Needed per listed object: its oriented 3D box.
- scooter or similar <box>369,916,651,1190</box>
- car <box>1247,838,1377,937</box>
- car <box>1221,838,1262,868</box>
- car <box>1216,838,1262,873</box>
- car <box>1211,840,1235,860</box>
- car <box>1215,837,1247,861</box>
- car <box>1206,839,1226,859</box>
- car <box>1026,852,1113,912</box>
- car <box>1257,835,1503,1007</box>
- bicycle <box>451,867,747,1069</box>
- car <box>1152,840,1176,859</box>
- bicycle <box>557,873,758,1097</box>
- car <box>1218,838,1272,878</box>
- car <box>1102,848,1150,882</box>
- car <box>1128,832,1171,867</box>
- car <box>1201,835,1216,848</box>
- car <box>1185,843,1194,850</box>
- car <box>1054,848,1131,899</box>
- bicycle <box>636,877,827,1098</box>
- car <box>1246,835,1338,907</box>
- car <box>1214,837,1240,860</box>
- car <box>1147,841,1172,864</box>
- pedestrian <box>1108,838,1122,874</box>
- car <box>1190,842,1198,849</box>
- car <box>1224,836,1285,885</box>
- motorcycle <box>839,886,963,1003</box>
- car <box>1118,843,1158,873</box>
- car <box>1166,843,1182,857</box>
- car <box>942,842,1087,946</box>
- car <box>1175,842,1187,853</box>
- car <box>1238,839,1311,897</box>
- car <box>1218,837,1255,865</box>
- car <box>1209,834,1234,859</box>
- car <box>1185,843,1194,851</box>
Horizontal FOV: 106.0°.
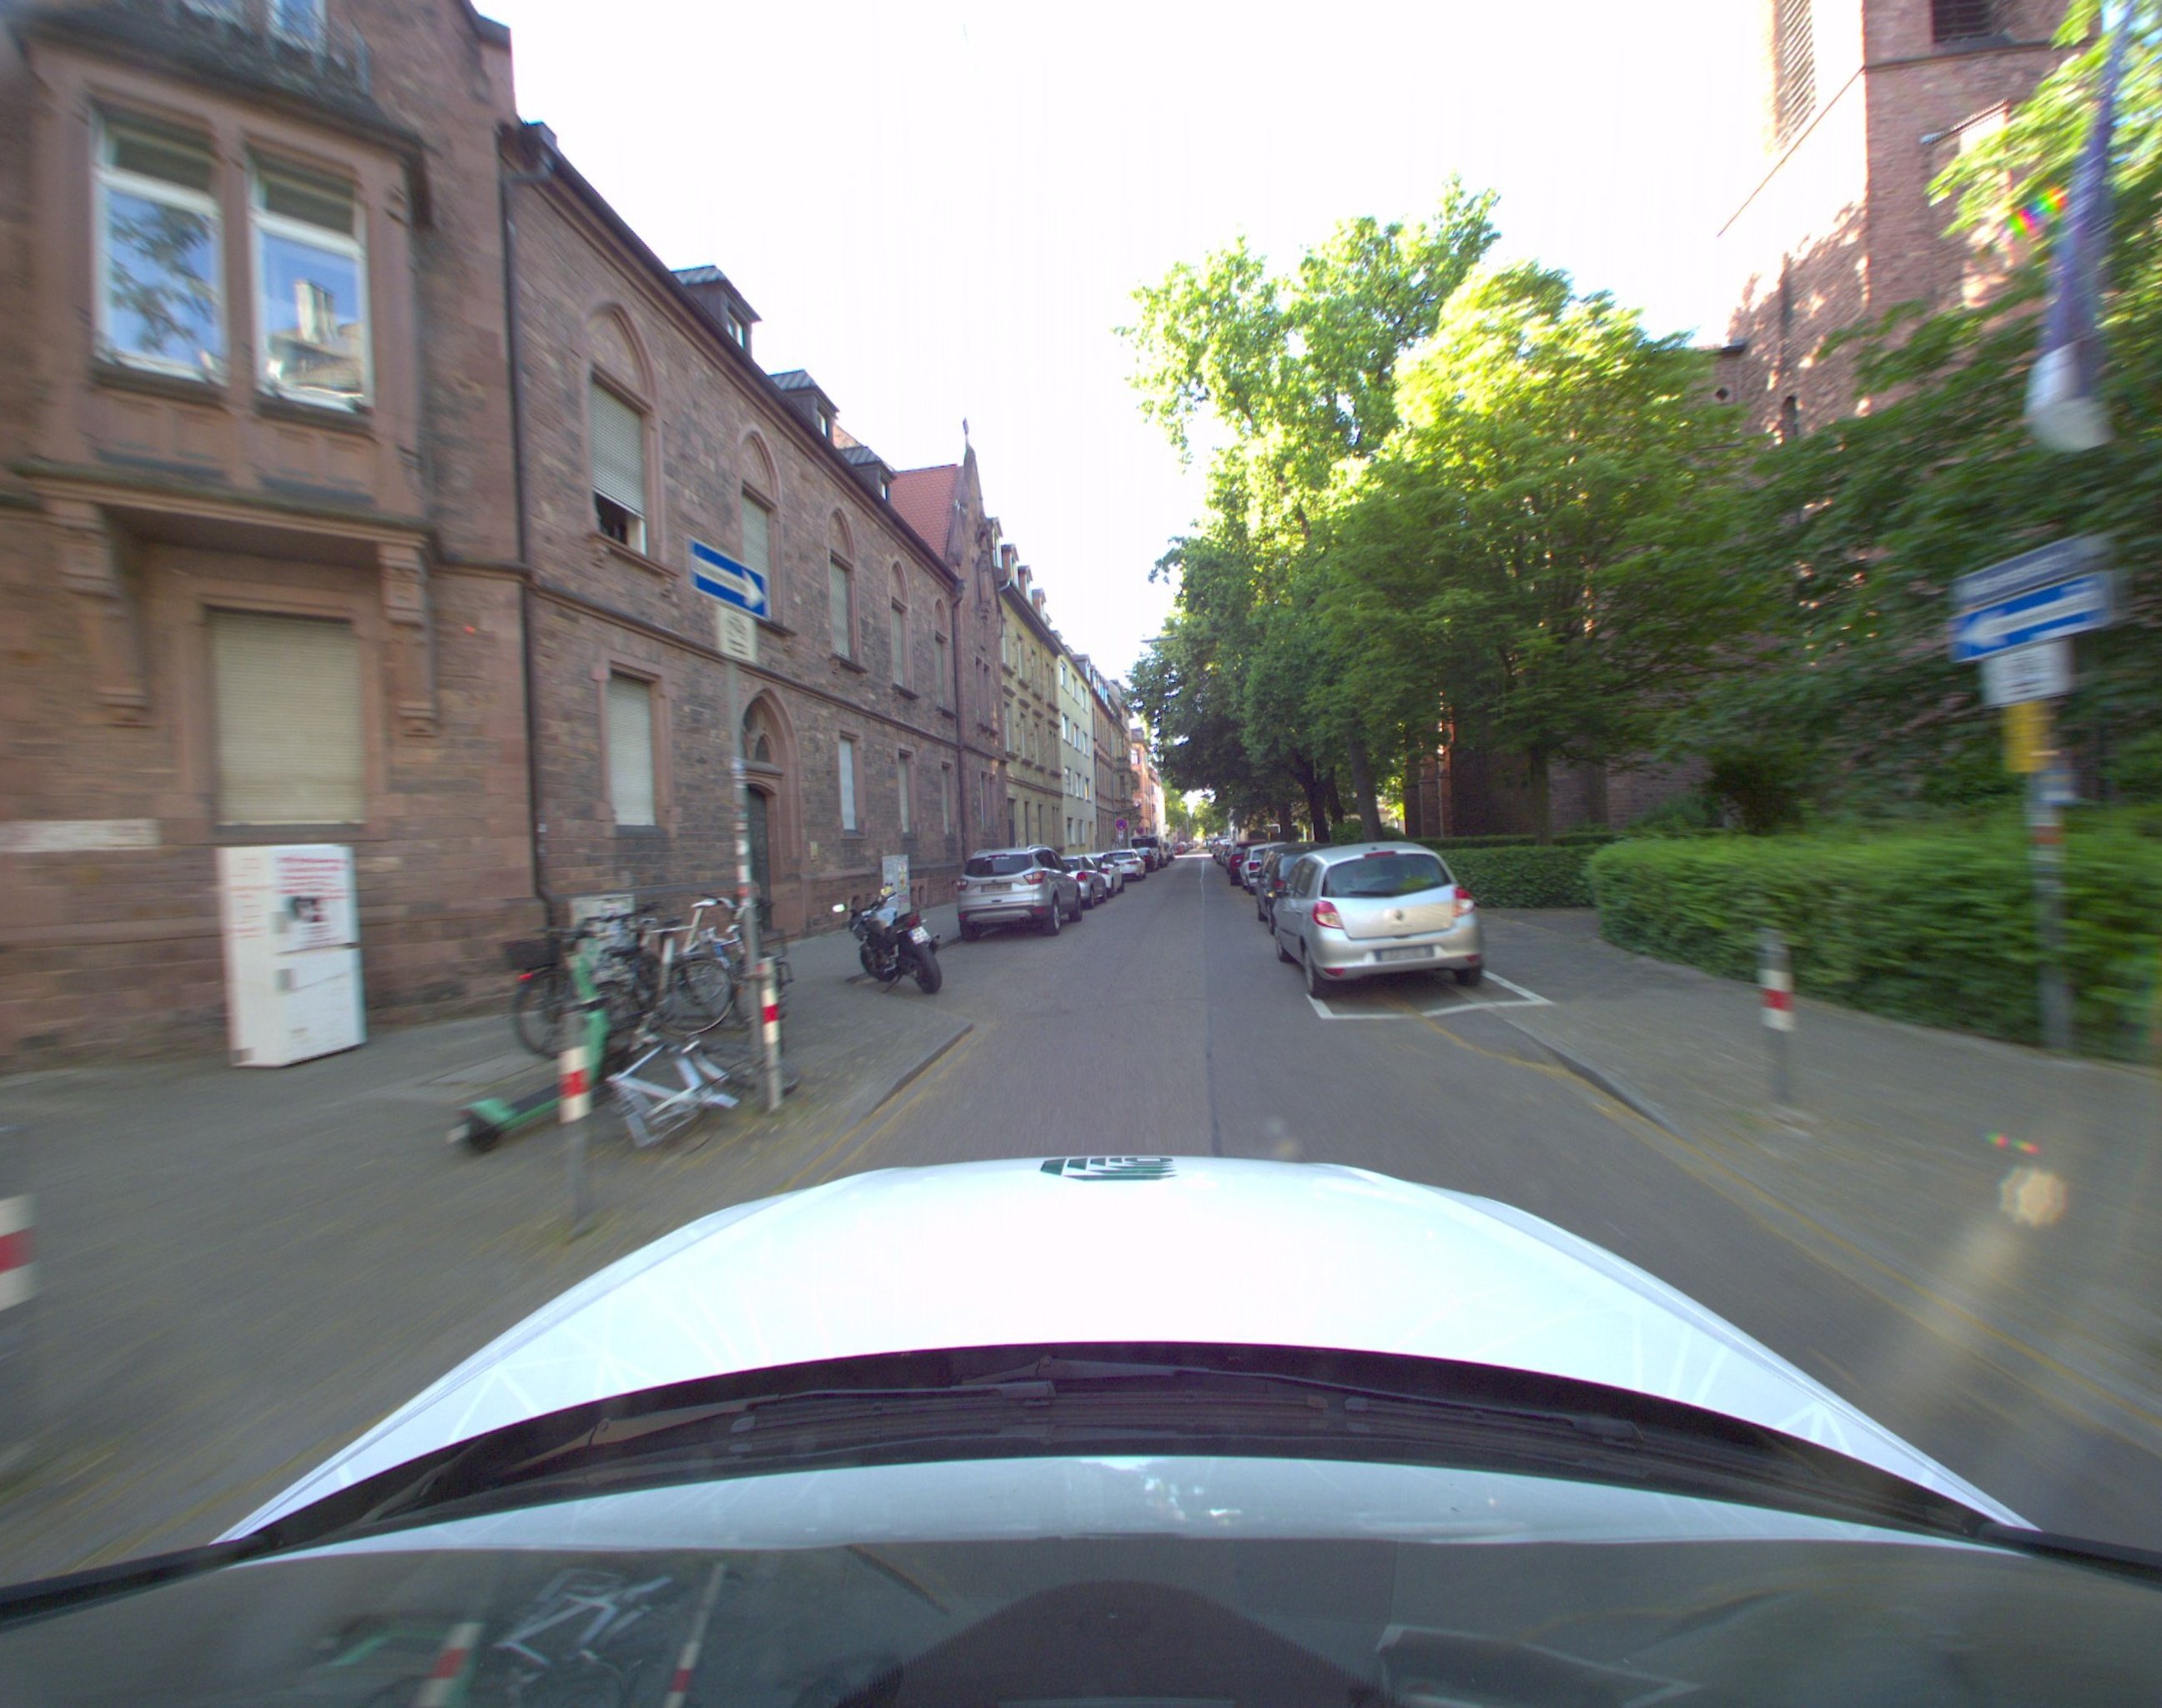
[{"bbox_3d":[-3.293,1.075,4.845,0.526,1.277,1.305,-3,0,12],"label":"scooter or similar"},{"bbox_3d":[4.098,0.518,15.029,1.713,1.522,4.009,-3,0,8],"label":"car"},{"bbox_3d":[9.015,-0.077,46.050,1.982,1.574,4.009,-3,0,8],"label":"car"},{"bbox_3d":[7.778,0.045,40.363,1.982,1.574,4.009,-3,0,8],"label":"car"},{"bbox_3d":[11.981,-0.343,68.927,1.783,1.574,4.232,-3,0,8],"label":"car"},{"bbox_3d":[10.582,-0.351,57.542,1.982,1.574,4.009,-3,0,8],"label":"car"},{"bbox_3d":[12.220,-0.499,73.793,1.679,1.727,4.009,0,1,8],"label":"car"},{"bbox_3d":[-0.223,0.723,22.780,1.715,1.393,4.010,-3,1,8],"label":"car"},{"bbox_3d":[3.197,0.587,9.556,1.715,1.522,4.007,-3,1,6],"label":"car"},{"bbox_3d":[-4.242,0.897,7.577,0.679,1.423,2.805,-3,1,9],"label":"bicycle"},{"bbox_3d":[7.619,-0.445,74.467,1.892,1.574,4.009,-3,0,8],"label":"car"},{"bbox_3d":[-3.384,0.923,6.809,0.572,1.423,2.497,-3,1,-7],"label":"bicycle"},{"bbox_3d":[7.099,0.150,35.577,1.982,1.574,4.009,-3,0,8],"label":"car"},{"bbox_3d":[2.074,0.457,36.832,1.761,1.353,4.010,-2,1,8],"label":"car"},{"bbox_3d":[4.604,-0.297,53.994,2.295,2.114,5.184,-3,0,10],"label":"car"},{"bbox_3d":[18.429,-1.852,117.663,1.982,1.727,4.010,-3,1,8],"label":"car"},{"bbox_3d":[26.736,-1.782,200.000,1.982,1.647,4.010,-3,0,8],"label":"car"},{"bbox_3d":[0.466,0.603,27.252,1.870,1.410,4.011,-4,0,9],"label":"car"},{"bbox_3d":[-2.708,0.915,6.659,0.682,1.345,2.497,-3,1,-7],"label":"bicycle"},{"bbox_3d":[5.217,0.371,20.581,1.731,1.574,4.009,-3,0,8],"label":"car"},{"bbox_3d":[11.064,-0.407,61.884,1.783,1.574,4.009,-3,0,8],"label":"car"},{"bbox_3d":[6.479,-0.150,66.757,1.783,1.573,4.010,-3,3,8],"label":"car"},{"bbox_3d":[1.989,0.120,47.592,0.682,2.013,0.692,-3,0,1],"label":"pedestrian"},{"bbox_3d":[30.859,-2.277,221.923,1.982,1.647,4.010,-3,0,8],"label":"car"},{"bbox_3d":[6.442,0.201,30.555,1.884,1.625,4.009,-3,0,8],"label":"car"},{"bbox_3d":[-2.268,1.024,9.994,0.669,1.207,2.287,-3,0,-33],"label":"motorcycle"},{"bbox_3d":[3.398,0.183,47.538,1.982,1.574,4.009,-3,0,8],"label":"car"},{"bbox_3d":[11.870,-0.521,103.795,1.939,1.709,4.008,-3,0,7],"label":"car"},{"bbox_3d":[-1.172,0.685,16.360,1.870,1.707,4.011,-4,0,9],"label":"car"},{"bbox_3d":[16.542,-1.134,134.303,1.764,1.815,4.013,0,1,11],"label":"car"},{"bbox_3d":[6.026,0.368,25.724,1.831,1.596,4.010,-3,1,8],"label":"car"},{"bbox_3d":[9.580,-0.187,50.534,1.982,1.574,4.009,-3,0,8],"label":"car"},{"bbox_3d":[13.851,-0.759,80.306,2.149,2.255,4.536,-3,0,8],"label":"car"},{"bbox_3d":[25.555,-1.606,191.493,1.982,1.647,4.010,-3,0,8],"label":"car"}]
